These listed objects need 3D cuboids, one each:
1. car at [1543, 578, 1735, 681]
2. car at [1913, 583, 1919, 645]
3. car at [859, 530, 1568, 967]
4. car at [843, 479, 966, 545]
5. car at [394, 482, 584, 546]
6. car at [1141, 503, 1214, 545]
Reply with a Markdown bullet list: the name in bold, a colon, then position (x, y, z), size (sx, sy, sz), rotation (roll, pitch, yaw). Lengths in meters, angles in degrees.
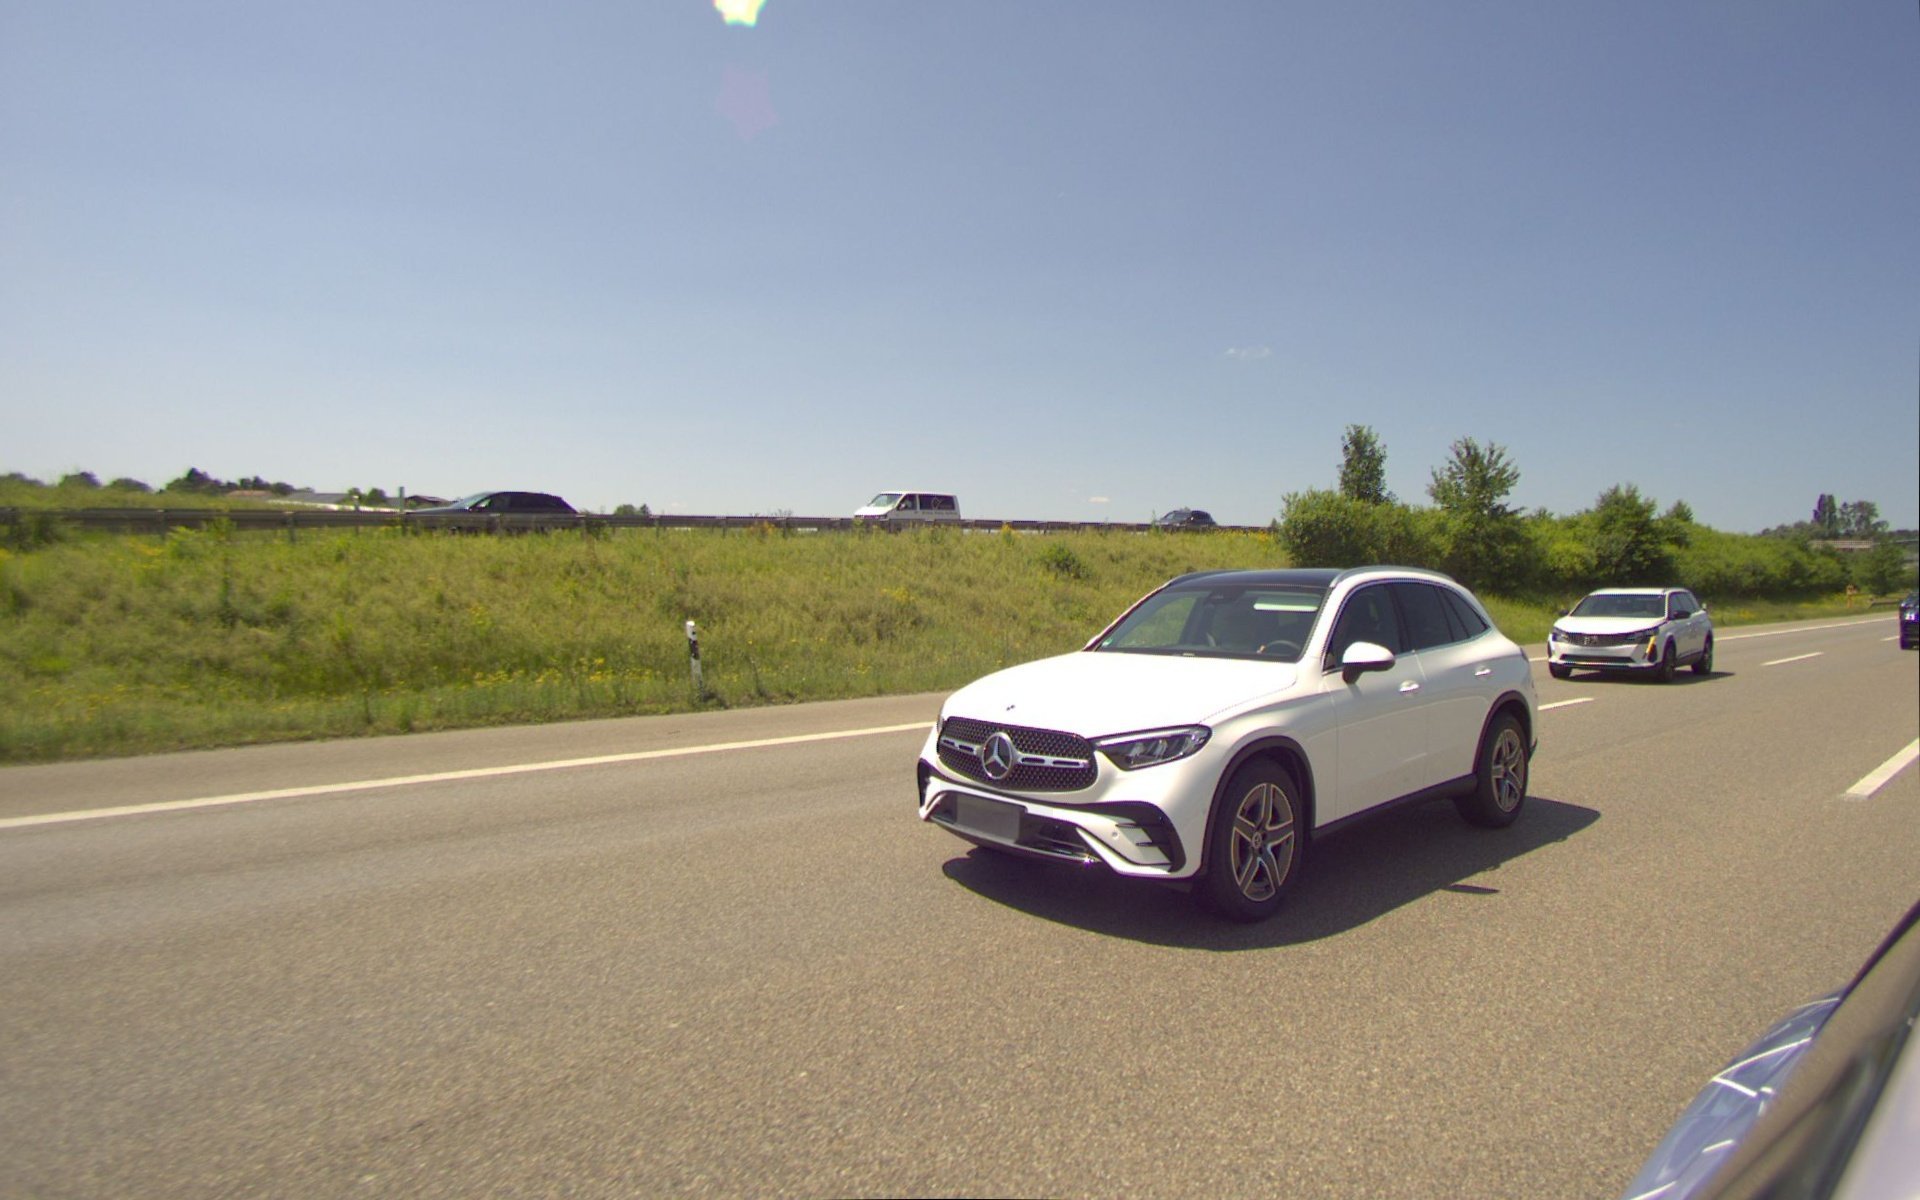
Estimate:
- **car**: position (12.627, 0.442, 18.709), size (4.538, 1.650, 1.896), rotation (-1, 1, -42)
- **car**: position (28.093, 0.354, 28.182), size (4.540, 1.650, 1.980), rotation (-1, 1, -43)
- **car**: position (1.801, 0.550, 6.116), size (4.556, 1.677, 1.908), rotation (0, 0, -41)
- **car**: position (-2.106, -3.354, 39.687), size (1.992, 2.199, 4.820), rotation (1, 1, 42)
- **car**: position (-12.615, -2.243, 27.275), size (1.993, 1.400, 4.231), rotation (1, 1, 42)
- **car**: position (11.757, -4.068, 54.507), size (3.935, 2.039, 1.994), rotation (-2, 1, -45)
